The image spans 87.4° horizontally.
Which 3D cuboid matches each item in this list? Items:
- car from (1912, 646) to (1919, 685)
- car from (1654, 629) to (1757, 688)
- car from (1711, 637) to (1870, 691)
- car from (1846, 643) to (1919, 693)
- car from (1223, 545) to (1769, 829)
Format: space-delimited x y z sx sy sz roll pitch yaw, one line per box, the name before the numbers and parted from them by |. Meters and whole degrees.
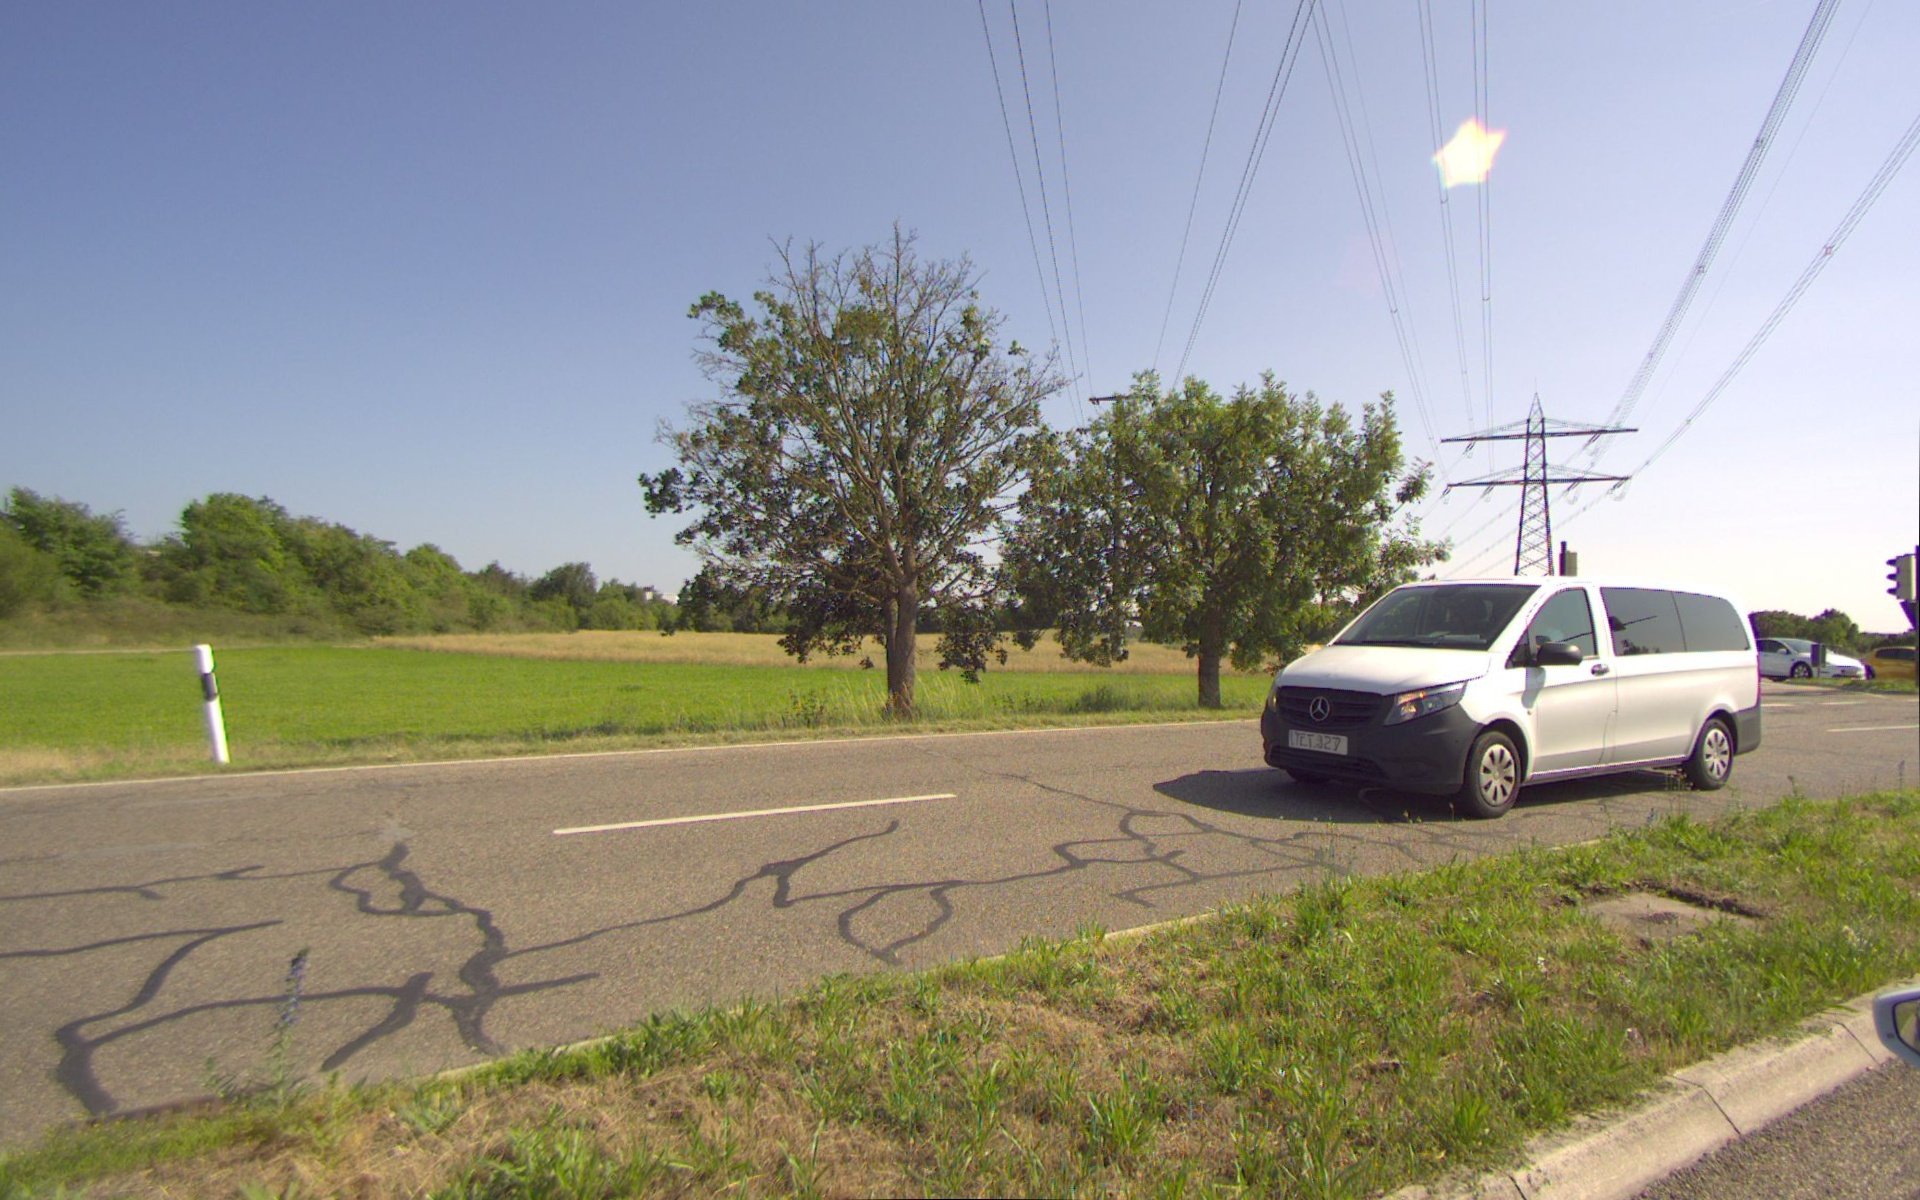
car | 39.017 2.578 38.219 1.773 1.539 3.879 1 -1 -4
car | 23.115 1.758 31.291 1.786 1.673 3.997 0 -2 25
car | 30.356 2.292 36.929 1.785 1.673 4.760 2 -1 -2
car | 33.587 2.373 35.044 1.785 1.673 4.000 1 -1 -2
car | 4.867 0.630 8.956 4.888 1.944 1.984 1 0 -29
